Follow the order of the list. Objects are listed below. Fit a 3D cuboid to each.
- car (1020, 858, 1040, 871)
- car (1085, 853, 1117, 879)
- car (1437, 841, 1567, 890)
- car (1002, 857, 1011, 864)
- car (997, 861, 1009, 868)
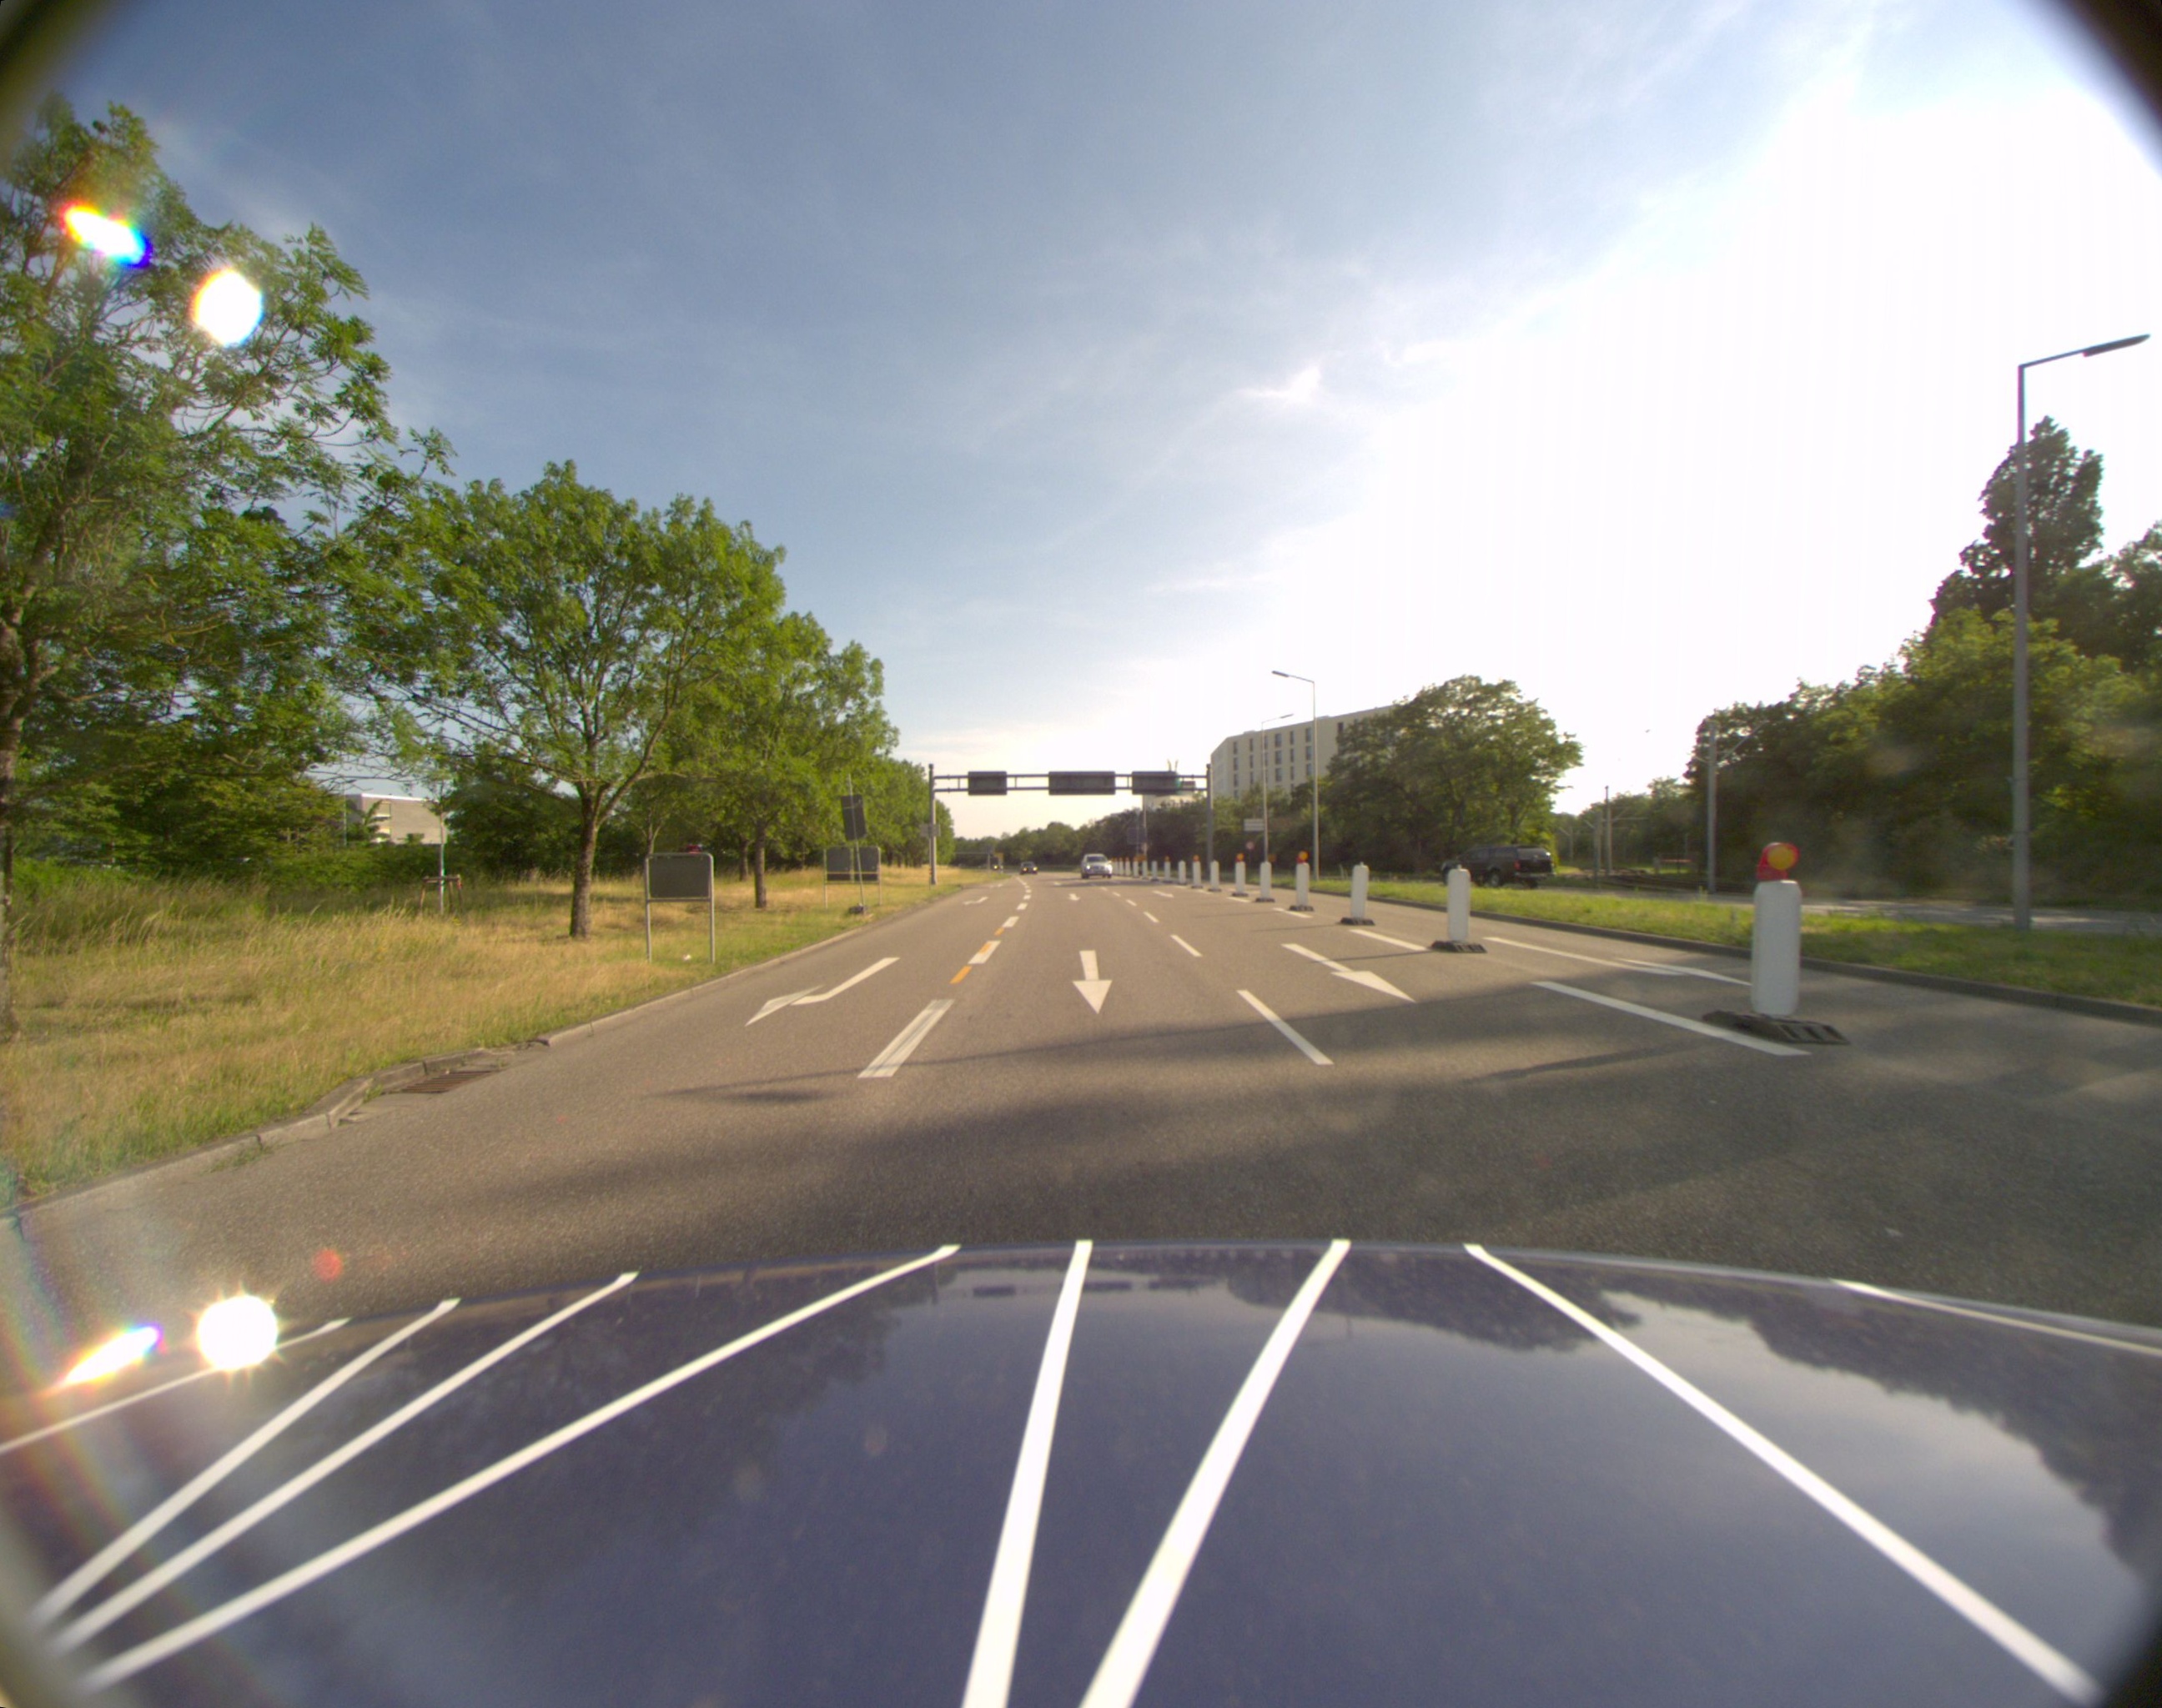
[{"bbox_3d":[-5.855,1.194,86.642,1.902,1.377,4.352,-2,0,-9],"label":"car"},{"bbox_3d":[1.402,0.850,55.576,1.901,1.813,4.354,-2,0,-3],"label":"car"},{"bbox_3d":[18.371,0.470,33.540,2.001,2.002,5.352,0,0,-12],"label":"car"},{"bbox_3d":[-19.816,1.767,201.356,1.791,1.796,4.119,-1,0,-12],"label":"car"},{"bbox_3d":[-16.415,2.197,159.301,1.897,1.447,3.904,-1,0,-15],"label":"car"}]
